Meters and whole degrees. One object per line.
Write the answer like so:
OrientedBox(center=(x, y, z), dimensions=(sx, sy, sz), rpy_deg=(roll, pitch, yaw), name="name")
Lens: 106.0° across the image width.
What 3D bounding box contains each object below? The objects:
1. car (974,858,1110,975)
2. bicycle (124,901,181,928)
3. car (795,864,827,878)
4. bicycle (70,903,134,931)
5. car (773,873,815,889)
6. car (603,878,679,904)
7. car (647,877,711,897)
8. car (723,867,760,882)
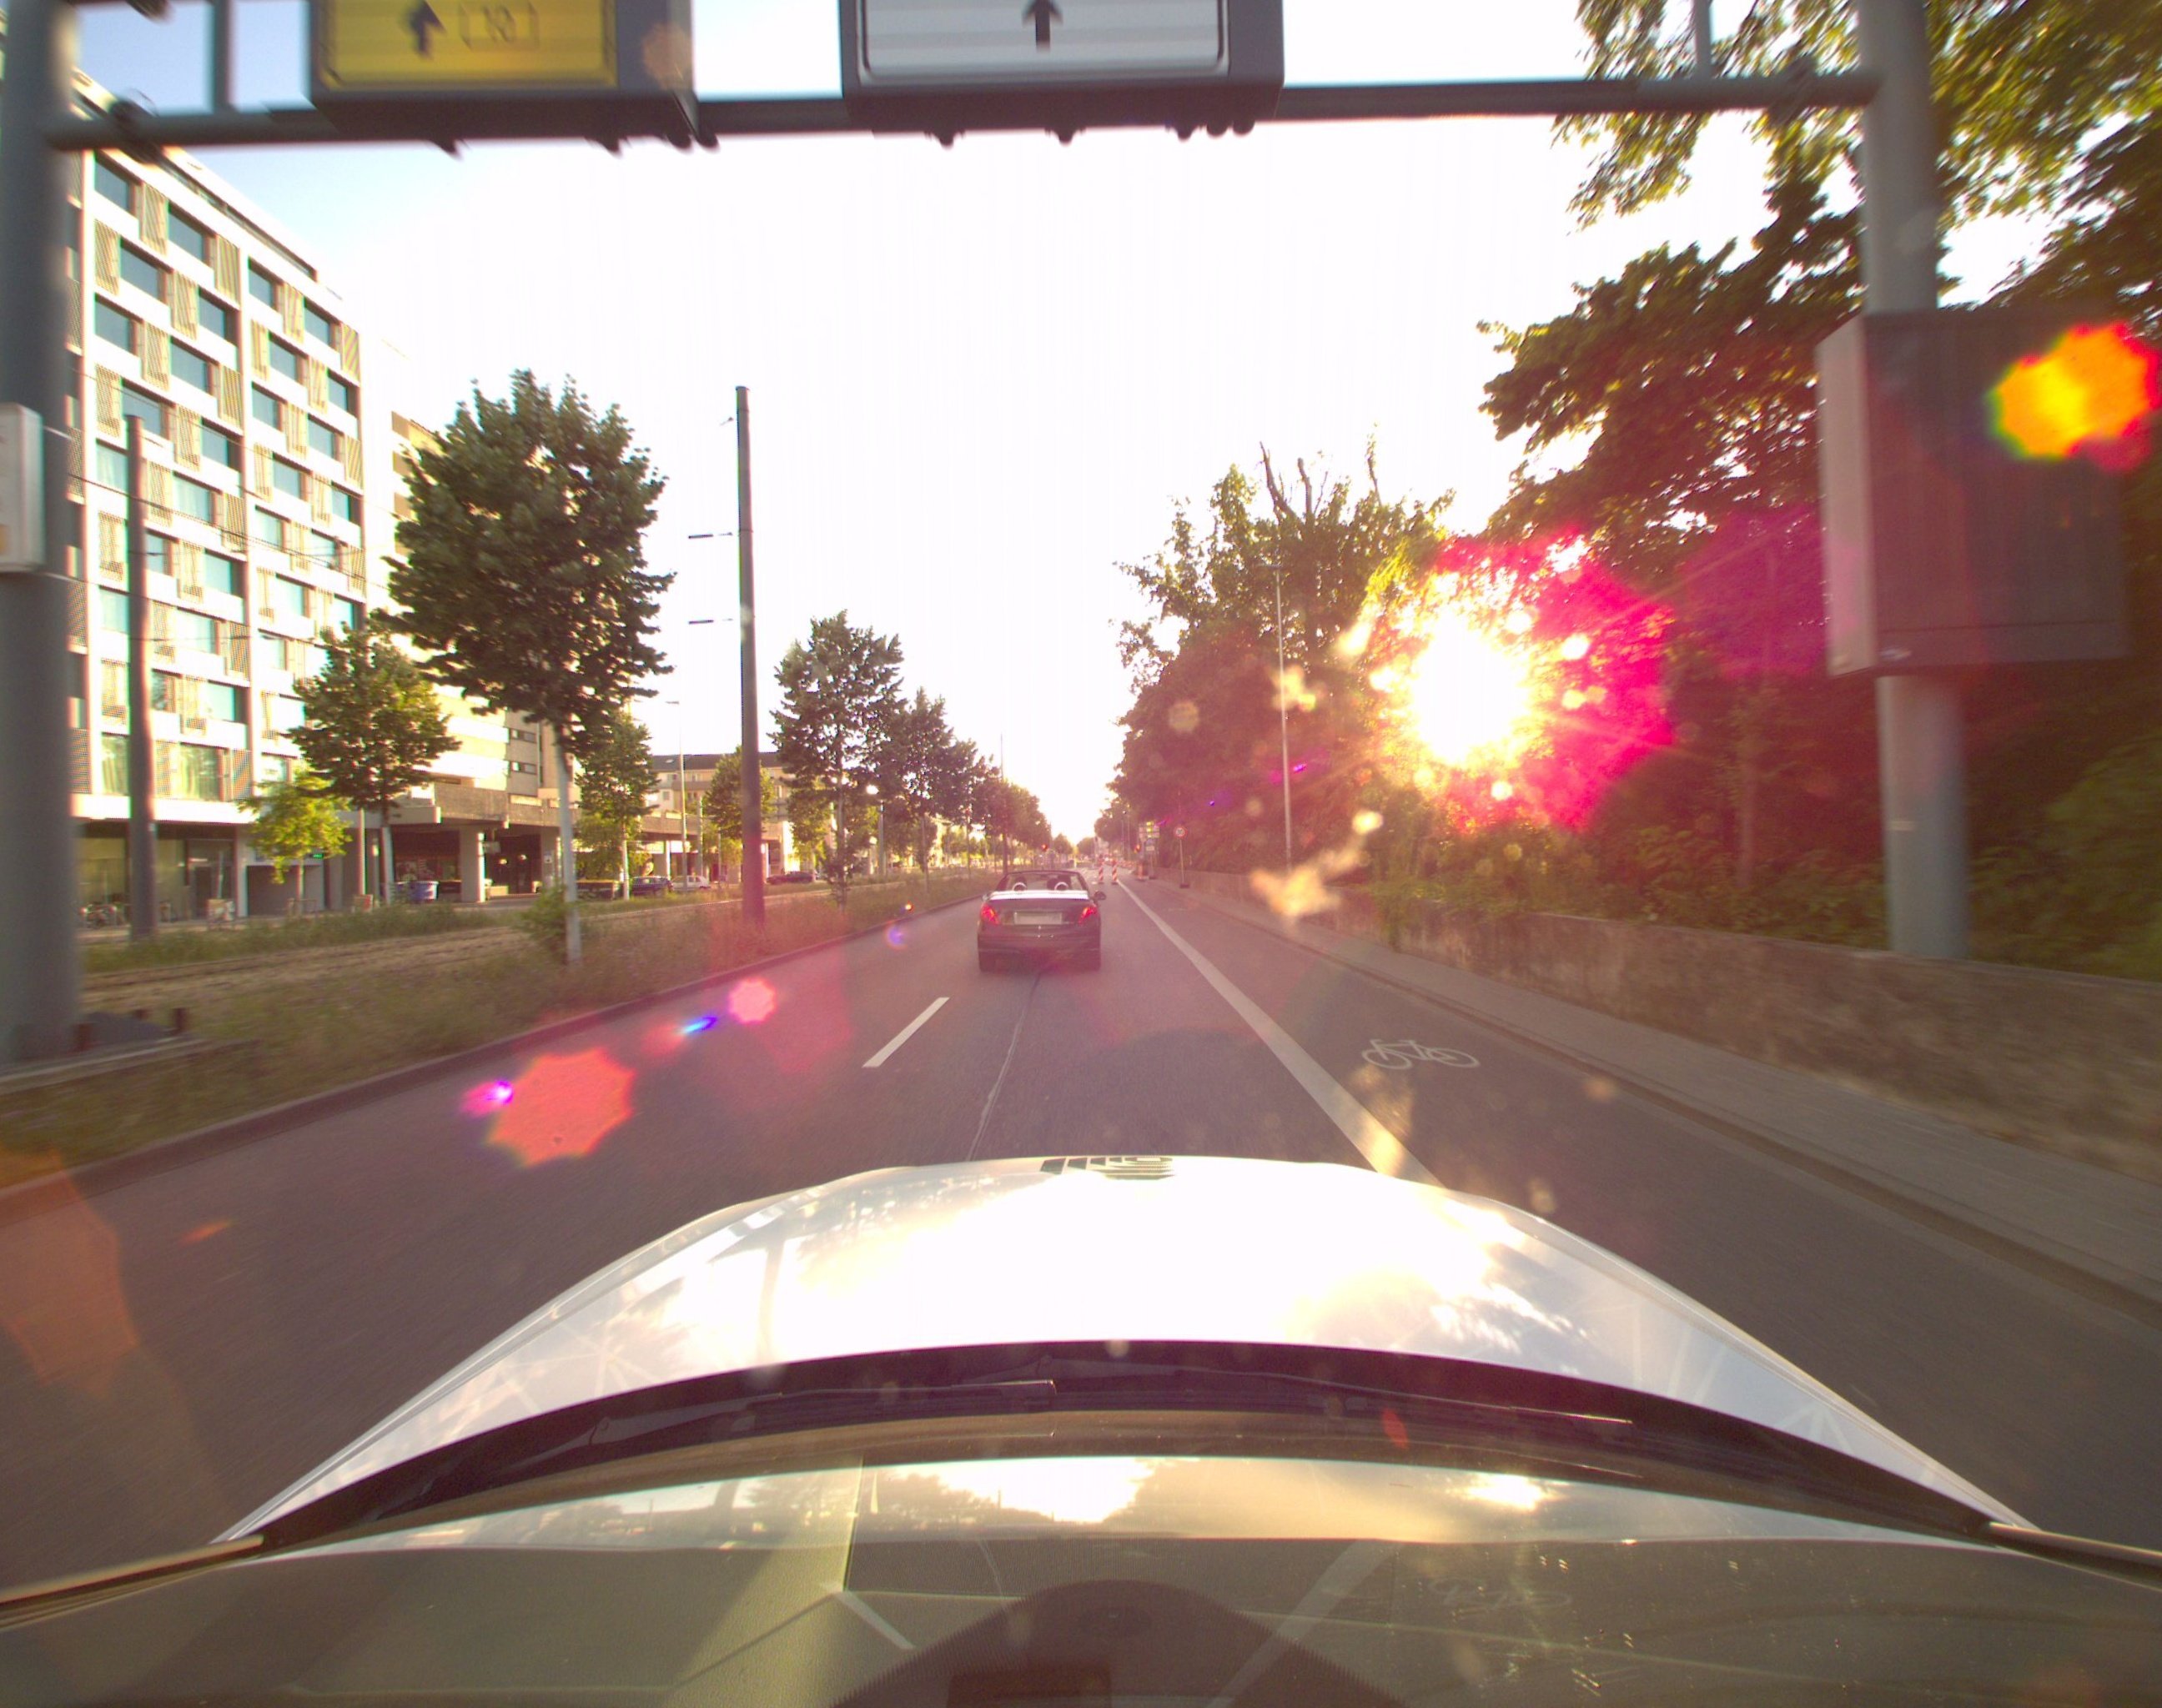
OrientedBox(center=(-0.653, 0.810, 12.426), dimensions=(1.716, 1.449, 3.894), rpy_deg=(-1, 0, -5), name="car")
OrientedBox(center=(-39.079, 2.553, 34.279), dimensions=(1.783, 1.020, 0.421), rpy_deg=(-2, -1, -3), name="bicycle")
OrientedBox(center=(-40.216, 2.506, 121.282), dimensions=(3.921, 1.845, 2.191), rpy_deg=(-2, 0, -1), name="car")
OrientedBox(center=(-37.267, 2.400, 31.007), dimensions=(1.783, 1.020, 0.421), rpy_deg=(0, -1, -3), name="bicycle")
OrientedBox(center=(-29.878, 2.776, 84.802), dimensions=(3.749, 1.450, 1.724), rpy_deg=(-2, -2, -39), name="car")
OrientedBox(center=(-30.567, 2.555, 56.622), dimensions=(4.307, 1.590, 1.986), rpy_deg=(-1, -1, -39), name="car")
OrientedBox(center=(-30.991, 2.524, 62.805), dimensions=(4.149, 1.436, 1.805), rpy_deg=(0, -1, -37), name="car")
OrientedBox(center=(-49.833, 3.043, 119.662), dimensions=(4.318, 1.769, 2.165), rpy_deg=(-4, 1, -3), name="car")
